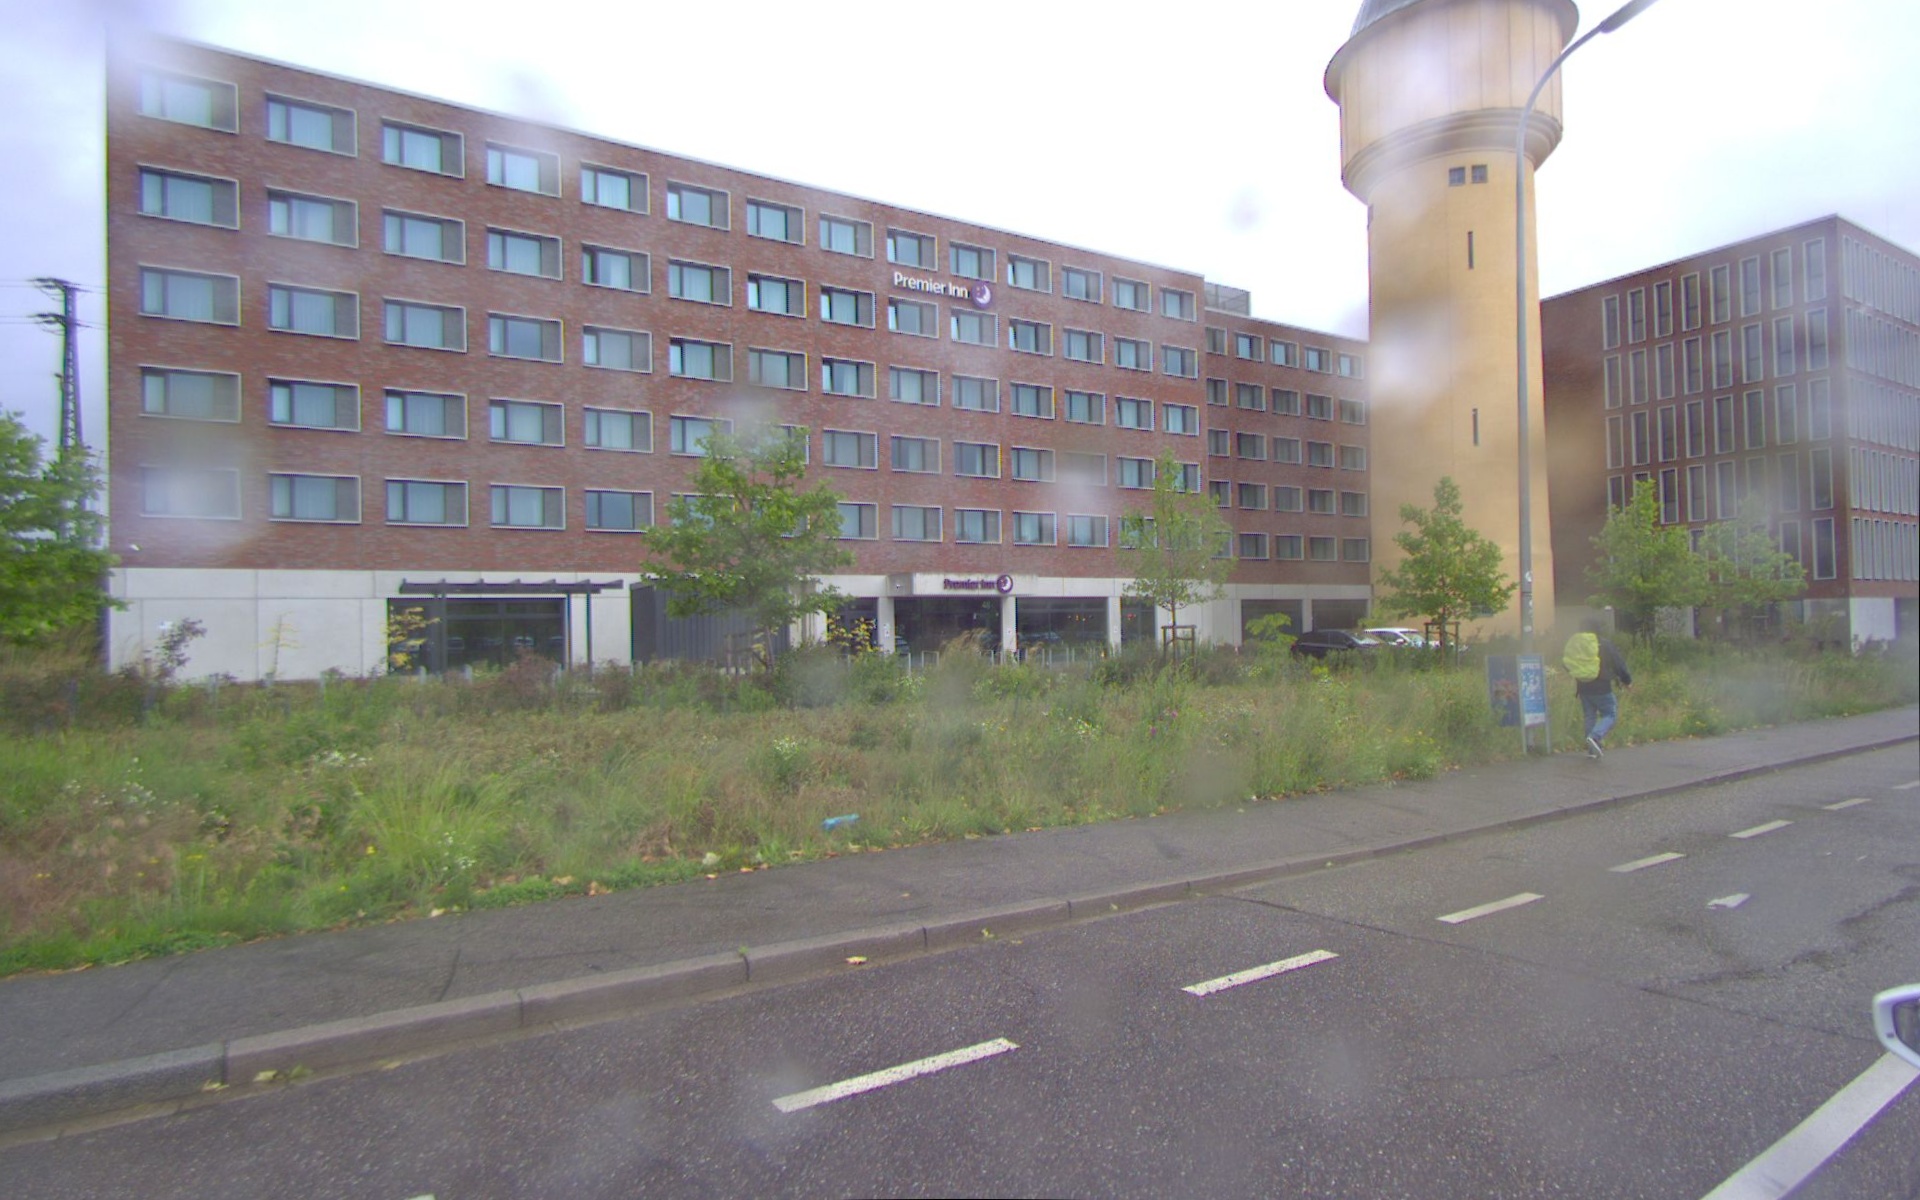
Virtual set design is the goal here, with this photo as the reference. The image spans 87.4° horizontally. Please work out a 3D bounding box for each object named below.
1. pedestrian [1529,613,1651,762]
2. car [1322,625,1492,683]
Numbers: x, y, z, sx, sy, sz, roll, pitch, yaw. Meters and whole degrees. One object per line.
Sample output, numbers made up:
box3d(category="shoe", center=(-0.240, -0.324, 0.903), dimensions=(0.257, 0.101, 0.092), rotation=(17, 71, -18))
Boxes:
box3d(category="pedestrian", center=(7.783, 1.047, 12.424), dimensions=(1.016, 1.740, 0.903), rotation=(1, -3, -33))
box3d(category="car", center=(13.901, 1.663, 31.480), dimensions=(1.981, 1.662, 4.491), rotation=(1, -3, -36))
